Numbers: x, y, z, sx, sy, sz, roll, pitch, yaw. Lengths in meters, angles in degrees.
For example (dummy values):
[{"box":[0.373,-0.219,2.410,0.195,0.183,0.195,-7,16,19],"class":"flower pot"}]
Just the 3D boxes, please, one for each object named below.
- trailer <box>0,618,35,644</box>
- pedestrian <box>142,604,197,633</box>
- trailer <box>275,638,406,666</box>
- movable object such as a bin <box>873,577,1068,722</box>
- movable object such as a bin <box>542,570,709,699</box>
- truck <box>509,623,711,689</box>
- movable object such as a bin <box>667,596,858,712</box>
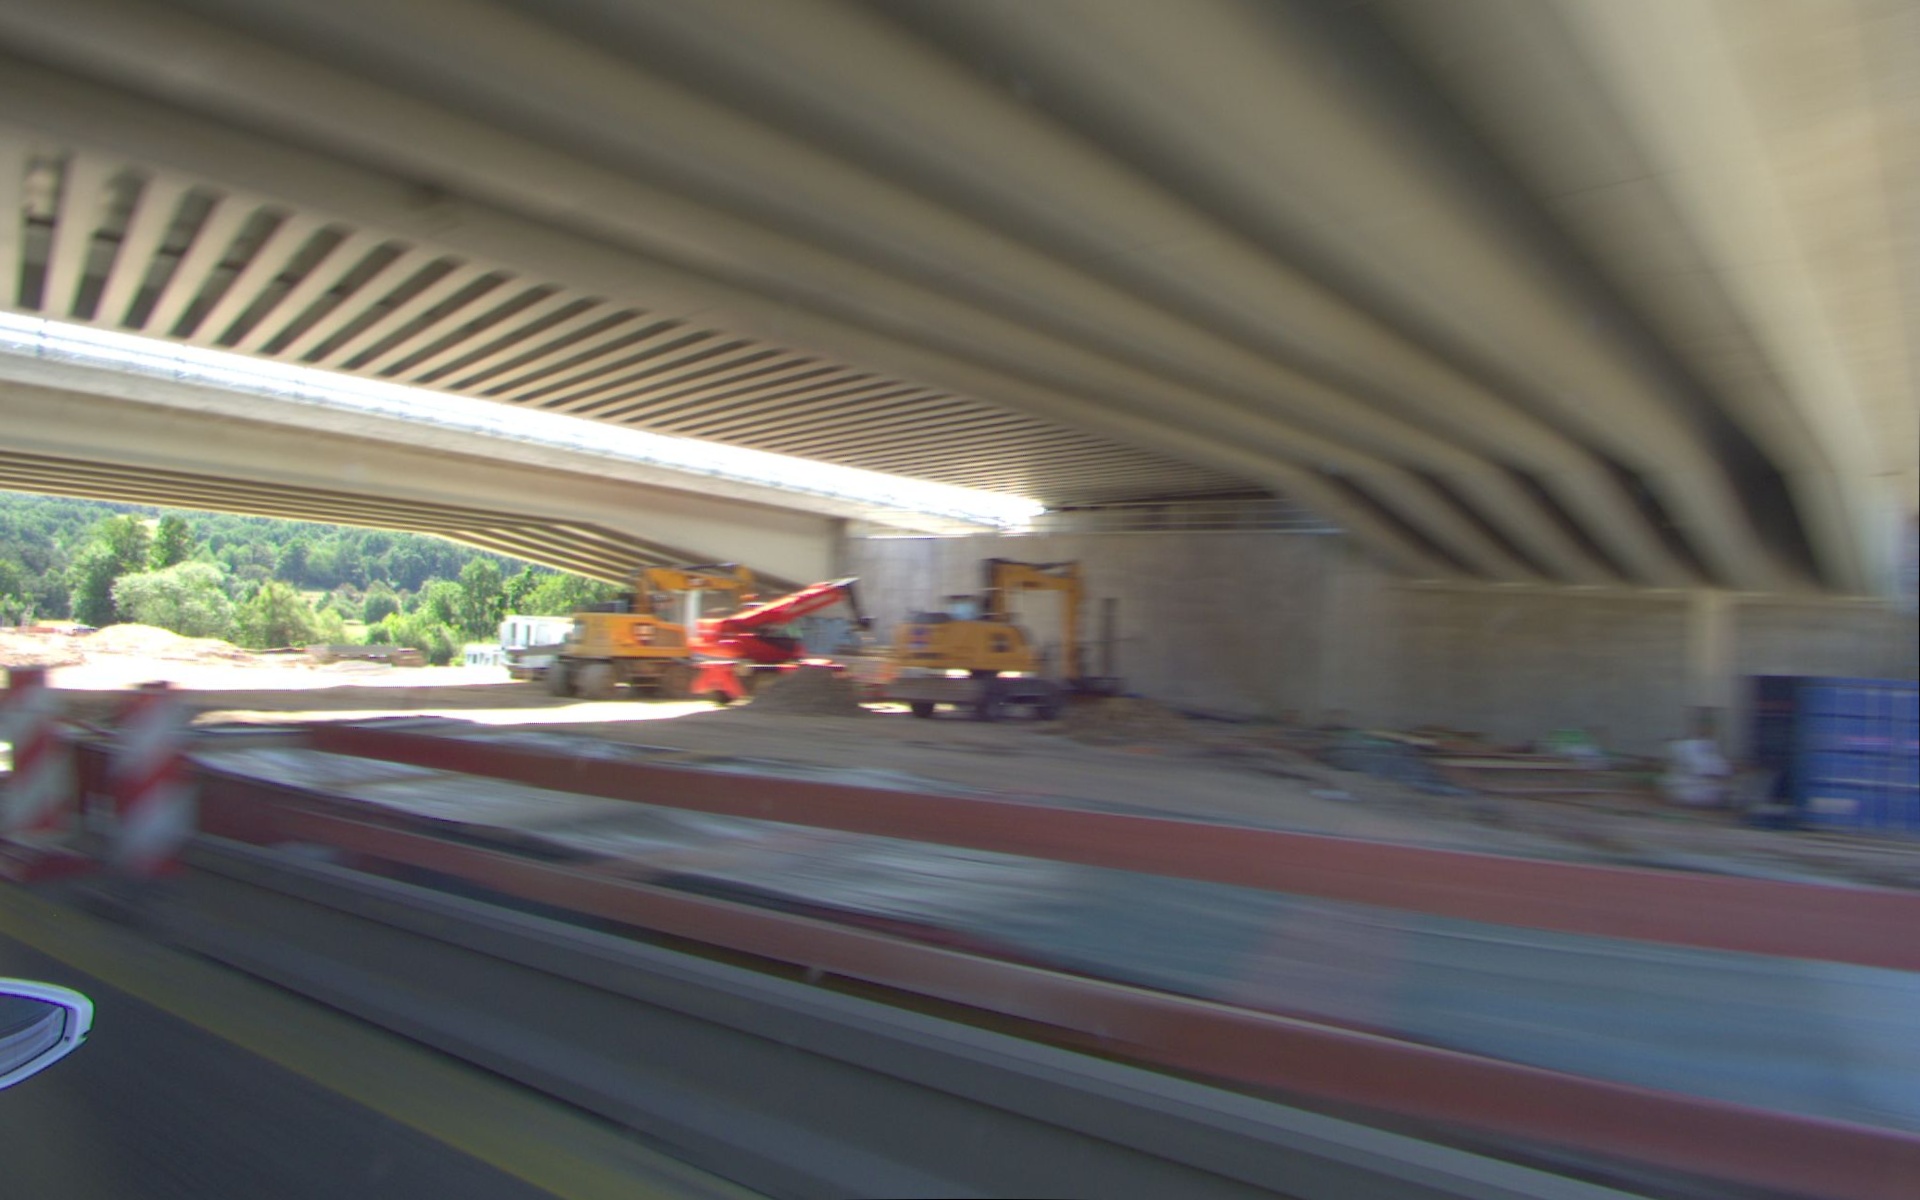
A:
[{"box":[-59.812,1.910,62.705,3.767,1.504,1.623,0,-2,29],"class":"trailer"},{"box":[-58.316,1.379,73.866,3.943,2.039,1.991,-2,-3,32],"class":"pedestrian"},{"box":[-28.160,2.349,45.674,2.027,1.235,4.706,-2,-3,32],"class":"trailer"},{"box":[0.377,1.326,25.847,2.952,3.326,4.542,-2,-4,36],"class":"movable object such as a bin"},{"box":[-10.073,1.130,30.260,2.873,3.585,3.862,-2,-5,43],"class":"movable object such as a bin"},{"box":[-12.394,2.021,35.984,2.630,2.099,6.506,0,-3,35],"class":"truck"},{"box":[-5.706,1.643,29.623,2.464,3.093,5.226,-2,-4,36],"class":"movable object such as a bin"}]
